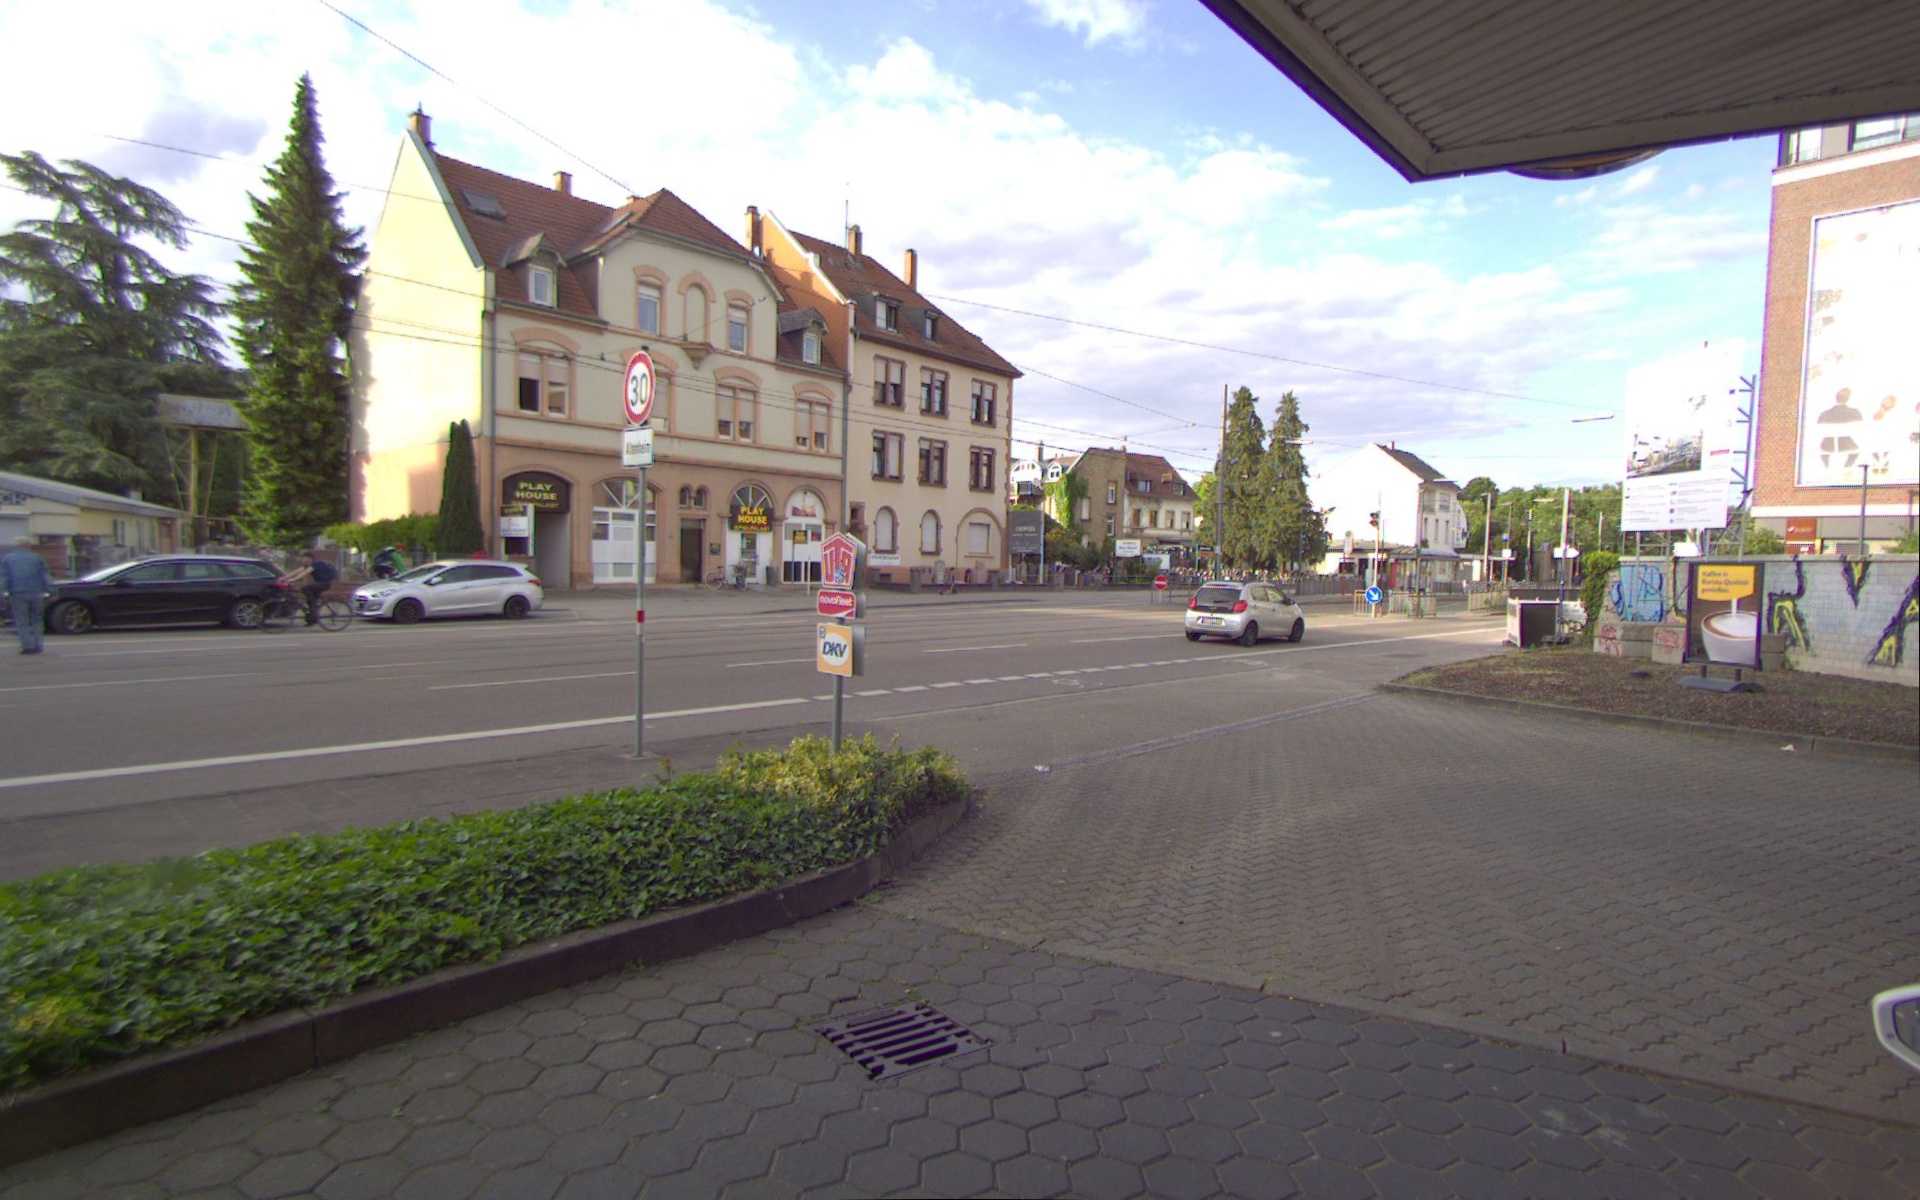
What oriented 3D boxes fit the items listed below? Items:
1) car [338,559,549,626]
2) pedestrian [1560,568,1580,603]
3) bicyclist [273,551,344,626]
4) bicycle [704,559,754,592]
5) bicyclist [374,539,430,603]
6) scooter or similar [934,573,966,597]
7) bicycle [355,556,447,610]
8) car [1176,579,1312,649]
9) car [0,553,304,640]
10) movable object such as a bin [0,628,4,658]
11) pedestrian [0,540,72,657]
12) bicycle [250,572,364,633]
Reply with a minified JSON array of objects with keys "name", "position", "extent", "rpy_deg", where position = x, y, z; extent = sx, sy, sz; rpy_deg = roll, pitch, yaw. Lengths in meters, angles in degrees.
[{"name":"car","position":[-12.924,-0.236,25.361],"extent":[1.699,1.503,4.434],"rpy_deg":[4,4,40]},{"name":"pedestrian","position":[36.293,-0.888,59.780],"extent":[0.797,2.040,0.845],"rpy_deg":[2,0,44]},{"name":"bicyclist","position":[-13.807,-0.252,21.294],"extent":[0.669,1.555,1.082],"rpy_deg":[1,2,35]},{"name":"bicycle","position":[-9.111,-0.953,39.615],"extent":[0.665,1.229,1.862],"rpy_deg":[4,2,41]},{"name":"bicyclist","position":[-14.741,-0.767,26.539],"extent":[0.852,1.627,1.025],"rpy_deg":[6,4,36]},{"name":"scooter or similar","position":[-0.440,-0.659,45.116],"extent":[0.461,1.041,1.655],"rpy_deg":[4,3,40]},{"name":"bicycle","position":[-14.764,-0.453,26.562],"extent":[0.852,1.329,1.912],"rpy_deg":[6,4,36]},{"name":"car","position":[6.766,0.277,23.786],"extent":[1.666,1.452,3.406],"rpy_deg":[5,4,43]},{"name":"car","position":[-16.605,-0.142,20.739],"extent":[1.983,1.520,4.755],"rpy_deg":[4,4,39]},{"name":"movable object such as a bin","position":[-14.147,0.612,14.421],"extent":[0.668,0.426,0.479],"rpy_deg":[3,2,35]},{"name":"pedestrian","position":[-13.976,-0.035,14.999],"extent":[0.995,1.690,0.960],"rpy_deg":[0,3,-38]},{"name":"bicycle","position":[-13.819,0.030,21.301],"extent":[0.669,1.239,1.913],"rpy_deg":[1,2,34]}]
